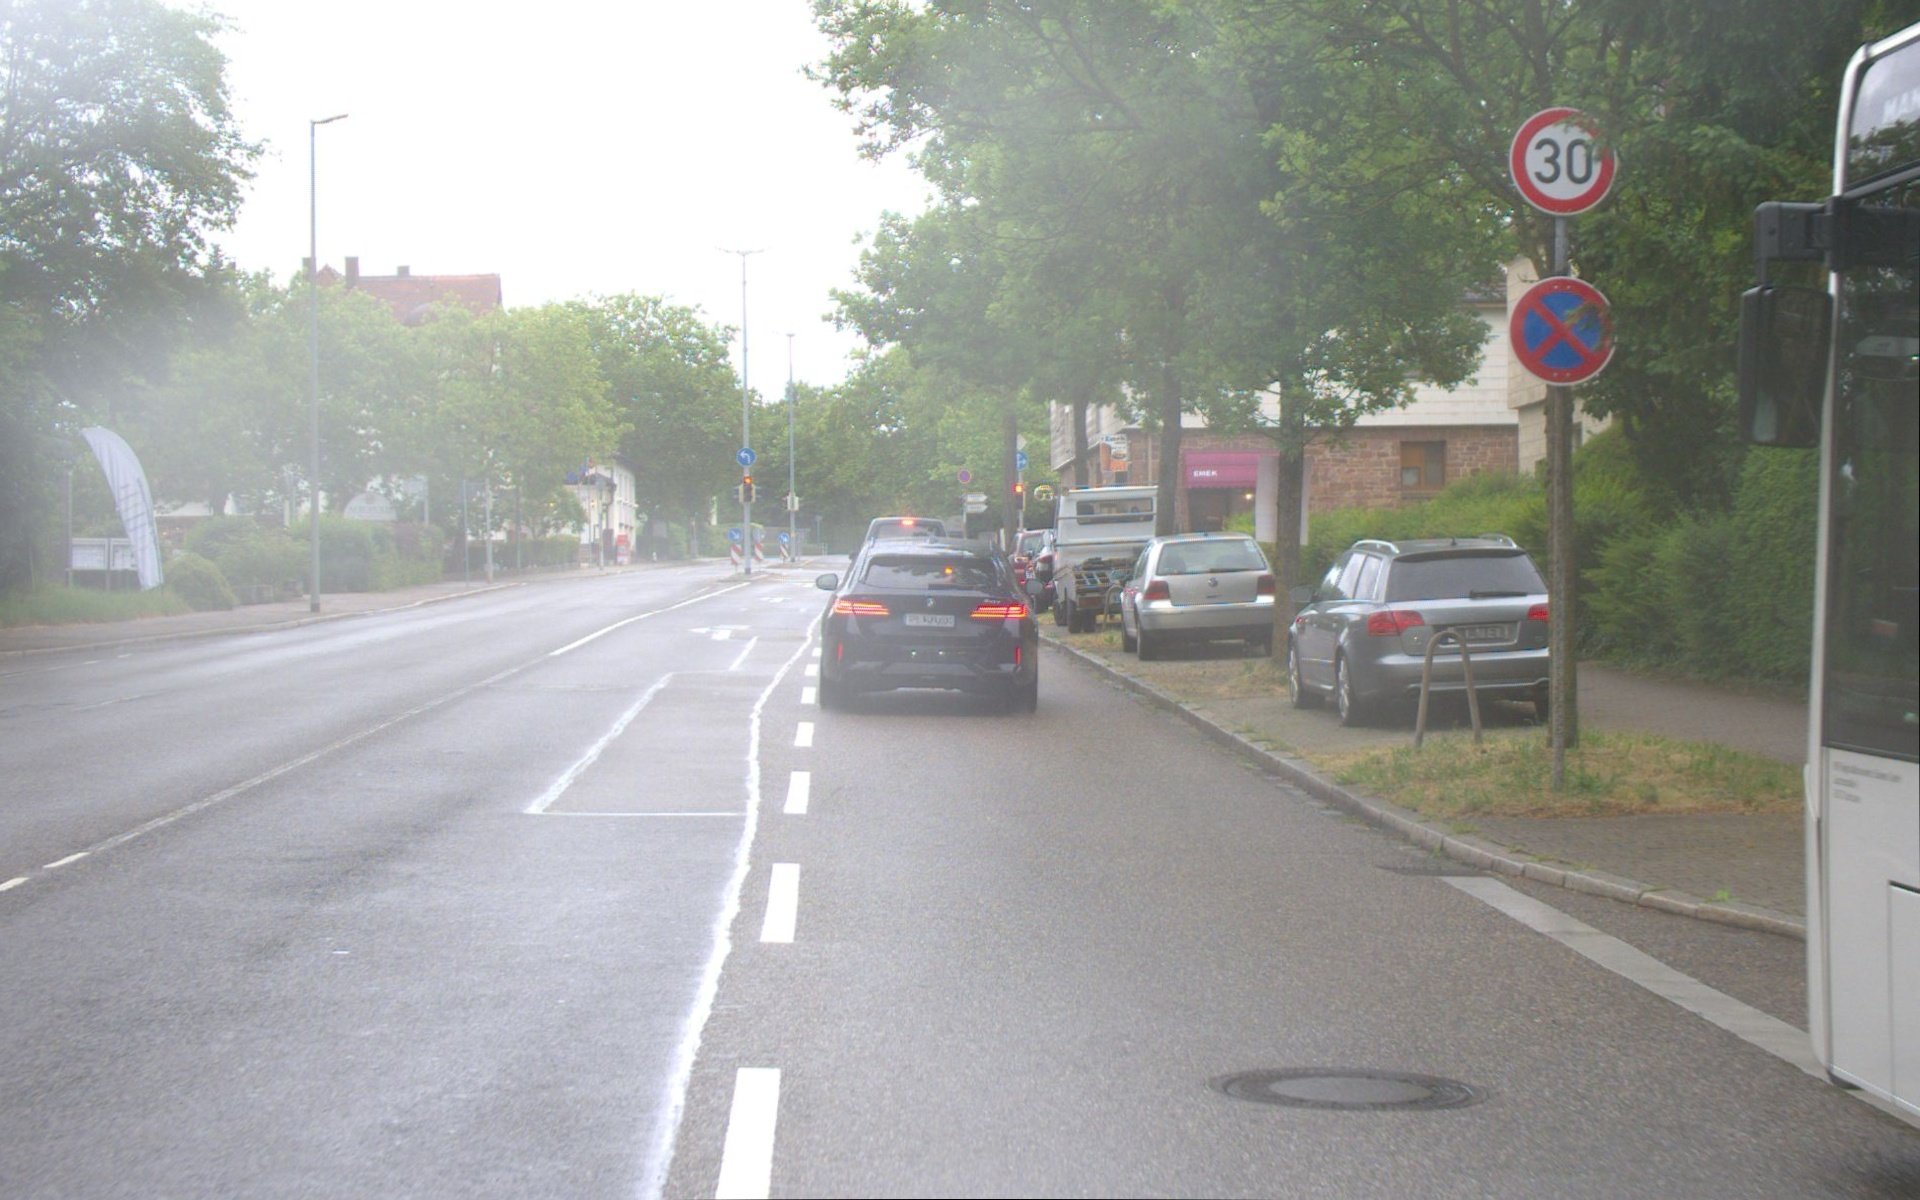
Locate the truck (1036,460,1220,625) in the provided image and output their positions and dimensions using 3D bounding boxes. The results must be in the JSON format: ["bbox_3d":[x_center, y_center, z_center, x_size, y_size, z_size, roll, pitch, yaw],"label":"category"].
[{"bbox_3d":[2.452,-0.905,51.982,2.080,2.214,6.503,-3,2,-2],"label":"truck"}]

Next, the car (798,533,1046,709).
[{"bbox_3d":[-0.420,0.138,31.138,2.064,1.441,4.484,1,1,-3],"label":"car"}]

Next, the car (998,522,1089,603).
[{"bbox_3d":[1.655,-0.776,69.393,1.604,1.467,3.856,-4,2,-1],"label":"car"}]

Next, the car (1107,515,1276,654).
[{"bbox_3d":[2.706,-0.226,40.895,1.601,1.431,4.022,-3,2,-1],"label":"car"}]

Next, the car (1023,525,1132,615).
[{"bbox_3d":[2.129,-0.577,63.304,1.714,1.493,4.184,-3,2,-1],"label":"car"}]

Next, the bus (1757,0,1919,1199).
[{"bbox_3d":[3.459,-0.011,3.803,2.556,2.949,9.452,0,2,-3],"label":"bus"}]

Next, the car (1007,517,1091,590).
[{"bbox_3d":[2.019,-1.083,78.747,1.583,1.485,3.628,-3,2,-3],"label":"car"}]

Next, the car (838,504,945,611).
[{"bbox_3d":[-1.237,-0.783,60.495,1.783,1.811,4.001,0,2,-2],"label":"car"}]

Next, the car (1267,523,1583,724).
[{"bbox_3d":[3.602,0.121,27.394,1.688,1.385,4.500,-2,2,-2],"label":"car"}]
